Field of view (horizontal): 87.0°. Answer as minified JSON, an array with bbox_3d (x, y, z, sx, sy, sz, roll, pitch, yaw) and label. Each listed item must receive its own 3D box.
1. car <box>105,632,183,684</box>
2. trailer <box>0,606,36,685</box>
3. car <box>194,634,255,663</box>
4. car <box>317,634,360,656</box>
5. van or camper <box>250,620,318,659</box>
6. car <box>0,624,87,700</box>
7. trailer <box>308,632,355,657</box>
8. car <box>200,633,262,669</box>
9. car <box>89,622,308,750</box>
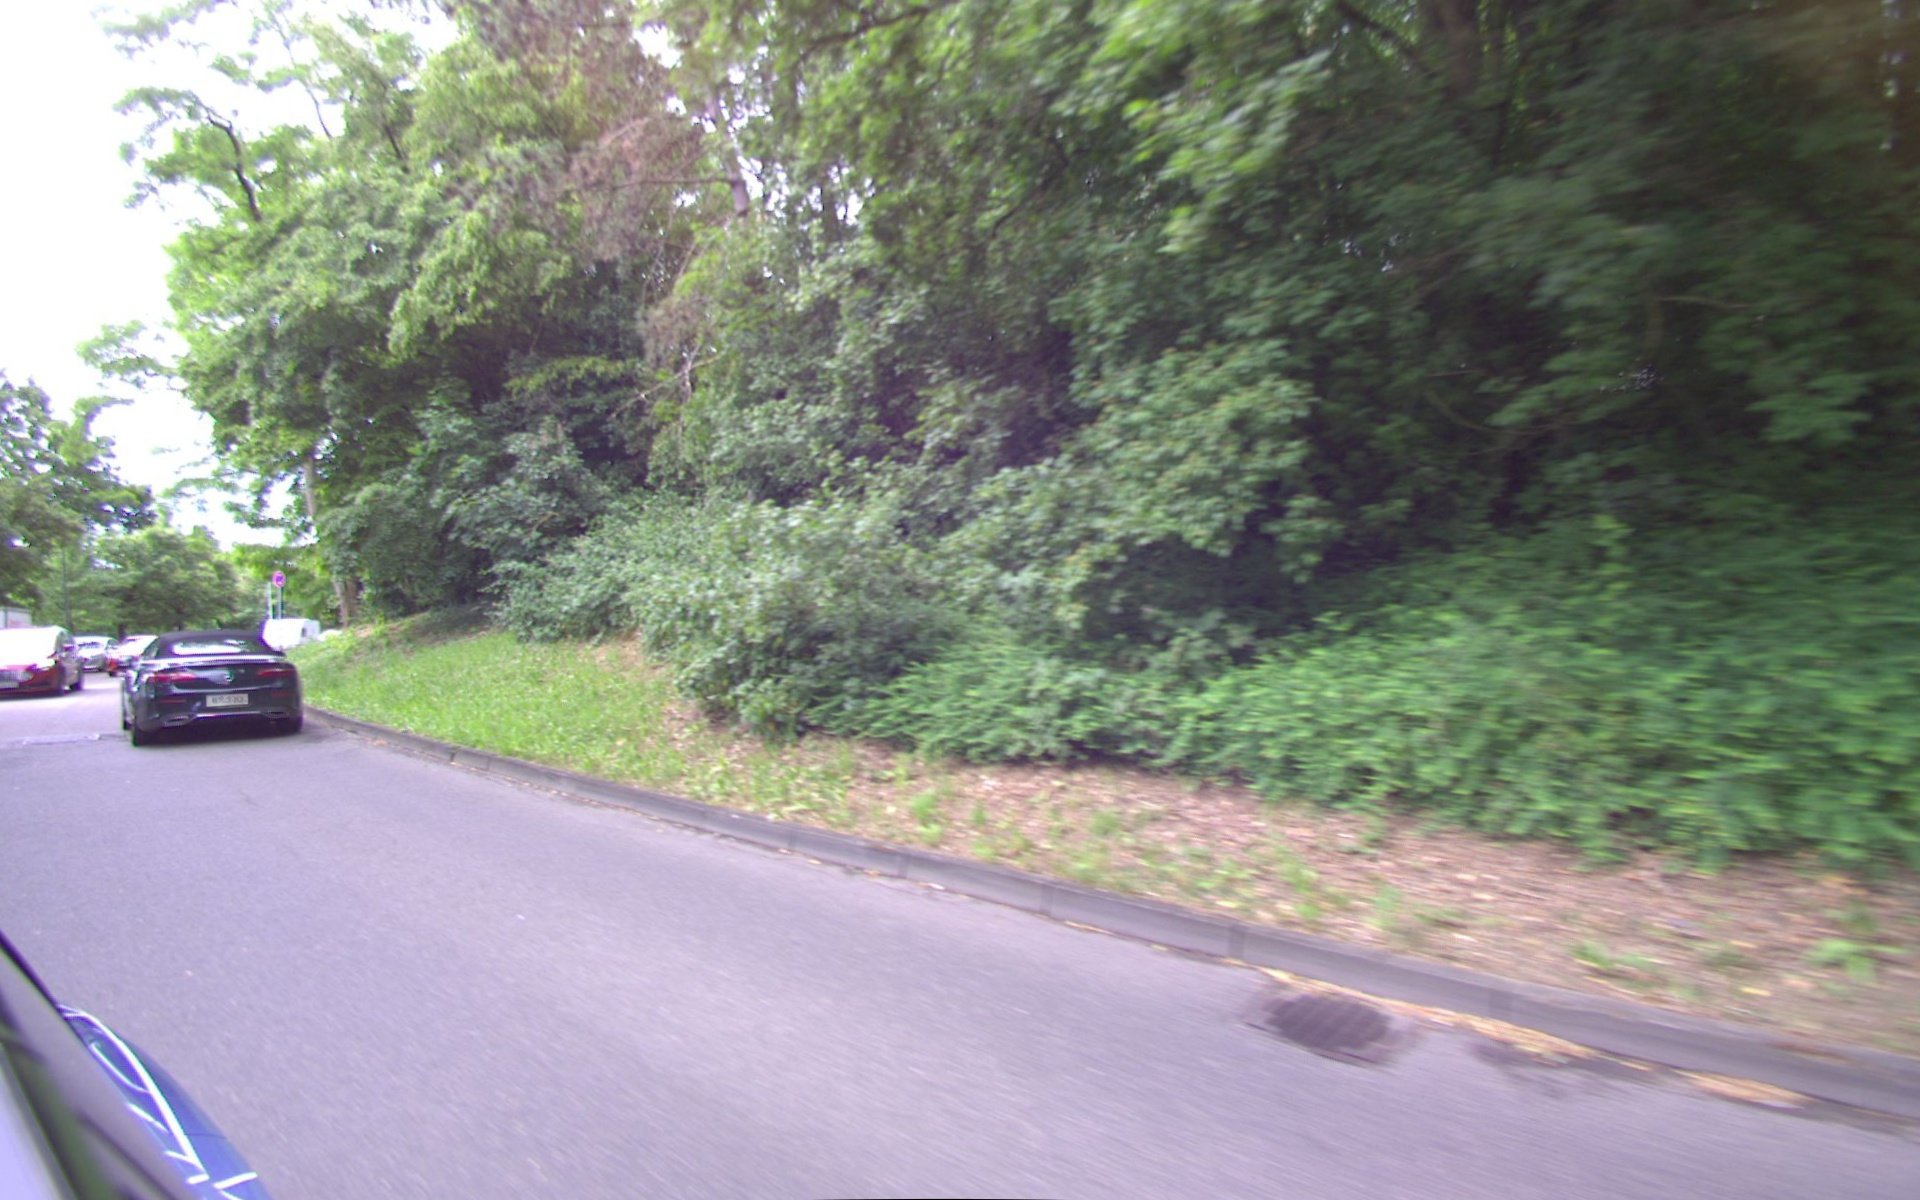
[{"bbox_3d":[-30.046,2.099,37.357,1.837,1.459,4.188,2,2,-34],"label":"car"},{"bbox_3d":[-31.263,1.461,32.391,1.736,2.445,3.898,0,-2,-31],"label":"trailer"},{"bbox_3d":[-44.990,2.933,61.986,1.822,1.655,4.545,-1,-1,-20],"label":"car"},{"bbox_3d":[-44.702,3.211,72.835,1.774,1.501,4.012,0,-2,-18],"label":"car"},{"bbox_3d":[-47.900,2.756,71.833,2.132,2.555,6.048,-2,-1,-15],"label":"van or camper"},{"bbox_3d":[-22.590,1.459,24.314,1.967,1.641,4.637,-2,-1,-35],"label":"car"},{"bbox_3d":[-50.089,3.516,80.769,1.748,1.744,4.662,0,0,-13],"label":"trailer"},{"bbox_3d":[-39.107,2.679,54.377,1.891,1.694,4.013,0,0,-24],"label":"car"},{"bbox_3d":[-10.786,1.063,14.198,4.493,1.399,1.771,-1,2,44],"label":"car"}]
